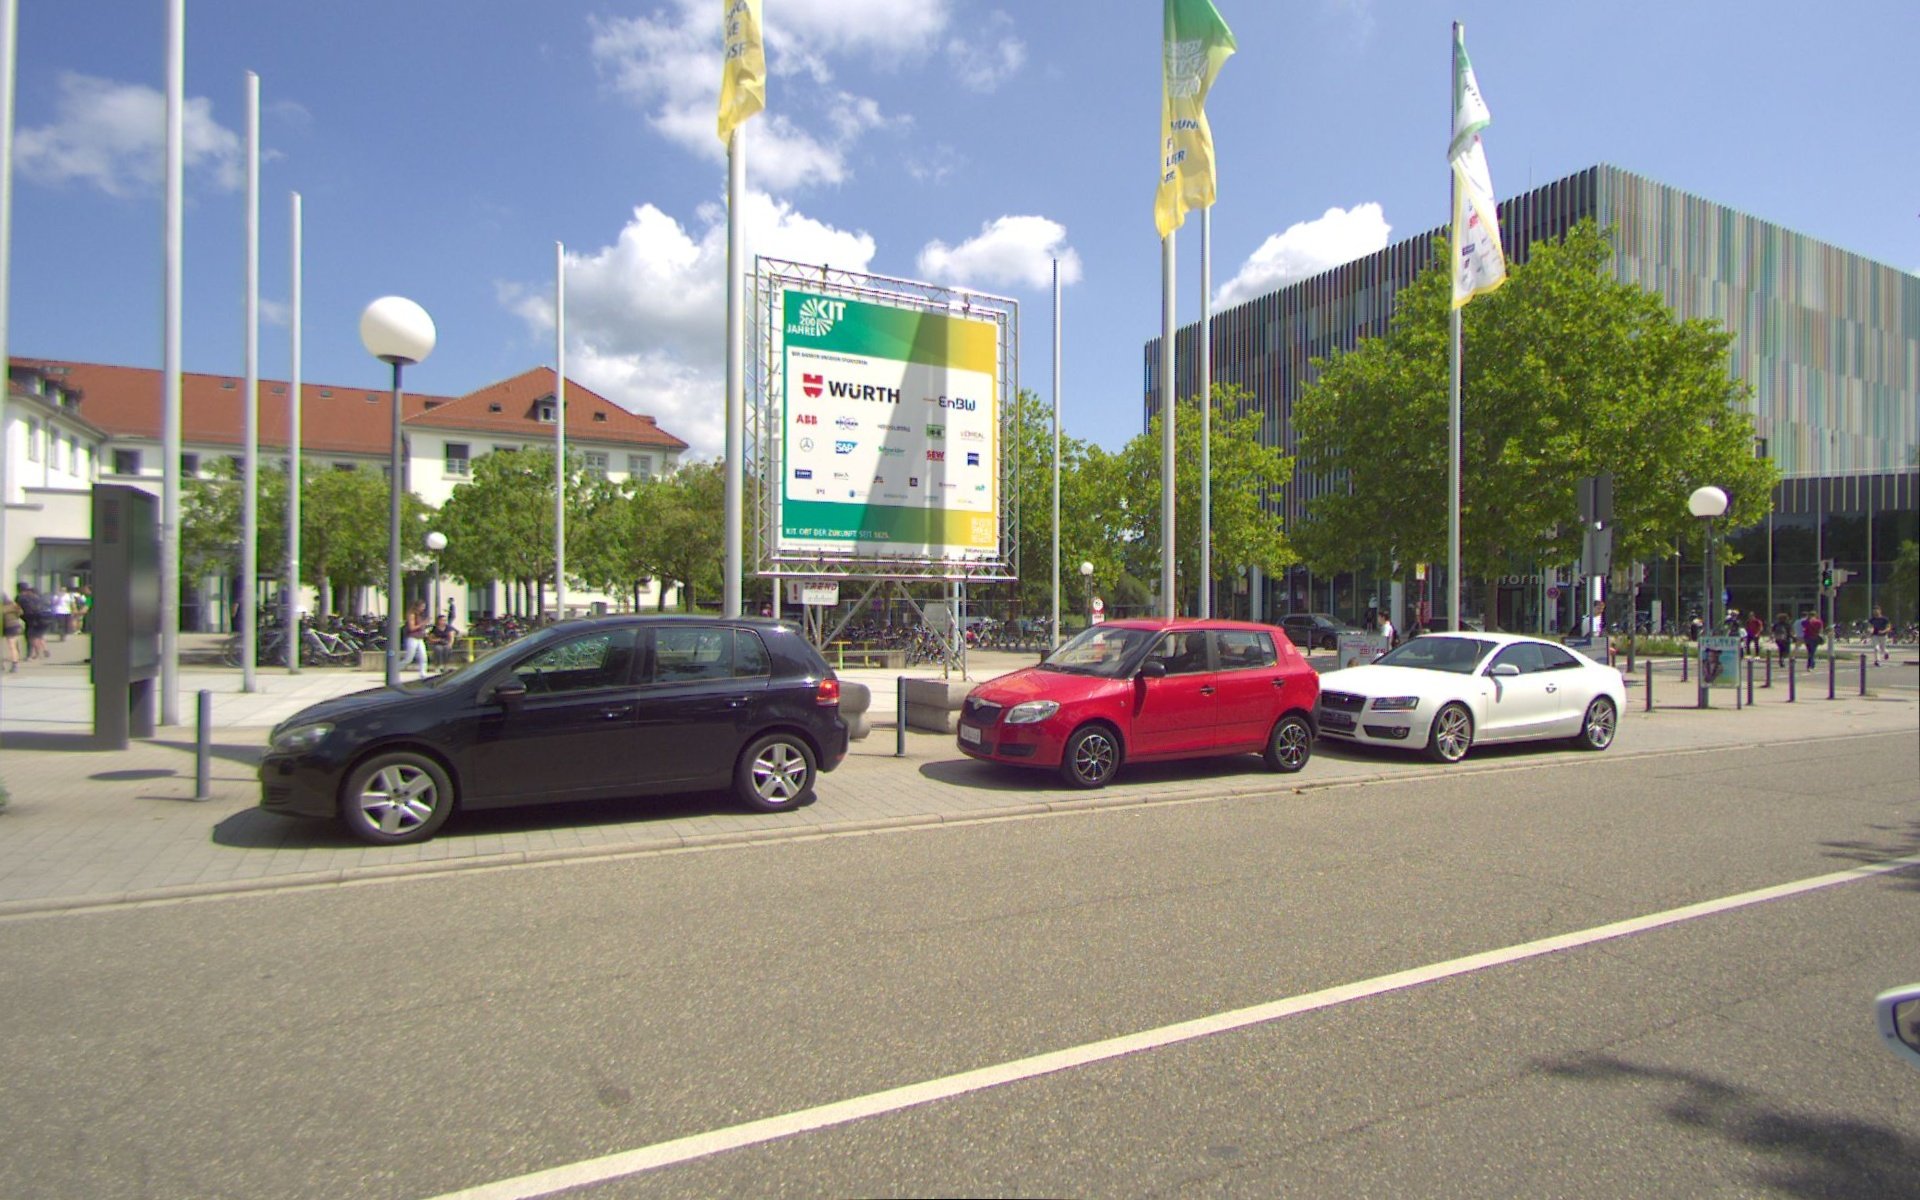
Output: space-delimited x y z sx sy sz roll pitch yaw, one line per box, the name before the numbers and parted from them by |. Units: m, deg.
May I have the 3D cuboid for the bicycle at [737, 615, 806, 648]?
bicycle | -8.520 1.430 45.382 2.909 1.430 1.060 1 0 -23

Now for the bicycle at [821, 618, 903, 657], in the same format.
bicycle | -3.703 1.405 37.938 2.909 1.430 1.060 1 0 -23

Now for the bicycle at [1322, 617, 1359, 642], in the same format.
bicycle | 29.452 2.278 77.729 2.911 1.863 0.956 1 0 -25

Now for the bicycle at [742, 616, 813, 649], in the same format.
bicycle | -8.048 1.429 44.284 2.909 1.430 1.060 1 0 -23

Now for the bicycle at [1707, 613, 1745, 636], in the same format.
bicycle | 43.803 1.380 57.483 1.179 1.254 2.947 1 0 27

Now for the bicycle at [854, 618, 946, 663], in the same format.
bicycle | -2.025 1.356 33.853 2.909 1.430 1.012 1 0 -23

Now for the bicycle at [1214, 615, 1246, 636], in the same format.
bicycle | 24.089 2.280 89.592 2.913 1.863 0.982 1 0 -27

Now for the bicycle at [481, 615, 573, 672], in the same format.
bicycle | -11.802 1.143 27.320 2.907 1.430 1.142 1 0 41

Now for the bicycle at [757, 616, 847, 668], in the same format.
bicycle | -4.803 1.238 30.340 2.907 1.430 1.060 1 0 41

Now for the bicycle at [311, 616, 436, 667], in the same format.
bicycle | -16.972 1.194 29.153 2.895 1.430 1.147 1 0 -6

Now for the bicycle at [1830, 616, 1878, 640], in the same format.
bicycle | 49.149 1.506 55.272 1.178 1.254 2.949 1 0 25

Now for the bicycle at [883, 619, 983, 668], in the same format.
bicycle | -0.837 1.320 30.876 2.909 1.438 1.012 1 0 -23

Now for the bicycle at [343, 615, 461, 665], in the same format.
bicycle | -16.895 1.204 30.476 2.895 1.430 1.147 1 0 -6

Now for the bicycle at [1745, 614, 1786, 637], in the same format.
bicycle | 45.744 1.431 57.101 1.178 1.254 2.948 1 0 26

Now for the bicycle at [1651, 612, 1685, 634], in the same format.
bicycle | 41.230 1.327 58.530 1.178 1.254 2.948 1 0 26

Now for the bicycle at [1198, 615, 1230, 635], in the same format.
bicycle | 23.127 2.280 91.544 2.913 1.863 0.956 1 0 -27

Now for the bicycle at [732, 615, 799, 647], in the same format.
bicycle | -9.025 1.431 46.668 2.909 1.430 1.060 1 0 -23

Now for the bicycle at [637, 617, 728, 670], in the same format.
bicycle | -8.133 1.239 29.350 2.907 1.430 1.142 1 0 41

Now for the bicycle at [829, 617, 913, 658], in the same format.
bicycle | -3.273 1.374 36.889 2.909 1.430 1.060 1 0 -23

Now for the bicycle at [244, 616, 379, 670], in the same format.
bicycle | -17.811 1.171 27.673 2.895 1.430 1.147 1 0 -6

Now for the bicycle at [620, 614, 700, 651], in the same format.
bicycle | -11.899 1.287 39.962 2.897 1.430 1.064 1 0 -9

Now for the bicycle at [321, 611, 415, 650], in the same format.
bicycle | -22.625 1.175 38.481 2.906 1.430 1.143 1 0 -20

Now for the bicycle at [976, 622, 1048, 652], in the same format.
bicycle | 2.118 1.472 40.446 2.922 1.163 0.991 1 0 -35

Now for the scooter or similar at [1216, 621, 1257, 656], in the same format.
scooter or similar | 9.963 1.377 36.254 0.486 1.212 1.726 0 -1 -21

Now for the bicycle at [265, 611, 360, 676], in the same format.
bicycle | -15.667 1.008 24.276 2.907 1.430 1.142 1 0 41

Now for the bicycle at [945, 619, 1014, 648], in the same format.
bicycle | 0.843 1.404 42.325 2.922 1.165 0.991 1 0 -36

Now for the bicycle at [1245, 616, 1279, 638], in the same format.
bicycle | 25.830 2.280 85.785 2.912 1.863 0.956 1 0 -26

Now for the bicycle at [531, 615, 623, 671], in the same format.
bicycle | -10.696 1.164 27.997 2.907 1.430 1.142 1 0 41

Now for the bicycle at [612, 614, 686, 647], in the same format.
bicycle | -13.784 1.338 44.540 2.915 1.430 1.205 1 0 -29

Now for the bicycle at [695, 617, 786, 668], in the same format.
bicycle | -6.616 1.238 30.109 2.907 1.430 1.142 1 0 41

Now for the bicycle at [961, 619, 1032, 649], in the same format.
bicycle | 1.518 1.391 41.336 2.922 1.152 0.991 1 0 -35

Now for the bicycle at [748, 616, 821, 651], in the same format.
bicycle | -7.552 1.429 43.216 2.909 1.430 1.060 1 0 -23

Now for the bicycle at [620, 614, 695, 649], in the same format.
bicycle | -13.003 1.348 43.175 2.915 1.430 1.057 1 0 -29

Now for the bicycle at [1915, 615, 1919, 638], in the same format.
bicycle | 52.511 1.439 53.497 1.177 1.254 2.952 1 0 17

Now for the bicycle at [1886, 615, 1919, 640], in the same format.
bicycle | 51.442 1.475 54.036 1.177 1.254 2.952 1 0 17

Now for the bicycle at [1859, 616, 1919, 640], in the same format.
bicycle | 50.257 1.500 54.384 1.177 1.254 2.952 1 0 17

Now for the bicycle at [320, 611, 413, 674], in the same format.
bicycle | -14.897 1.025 25.171 2.907 1.430 1.142 1 0 41

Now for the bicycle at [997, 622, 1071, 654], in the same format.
bicycle | 2.898 1.467 39.288 2.922 1.163 0.991 1 0 -35

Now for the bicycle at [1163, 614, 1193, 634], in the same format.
bicycle | 20.851 2.277 96.071 2.913 1.863 0.956 1 0 -27

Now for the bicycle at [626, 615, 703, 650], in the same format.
bicycle | -12.336 1.350 41.929 2.915 1.430 1.057 1 0 -29

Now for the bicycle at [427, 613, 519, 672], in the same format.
bicycle | -12.968 1.093 26.691 2.907 1.430 1.142 1 0 41

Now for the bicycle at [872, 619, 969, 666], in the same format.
bicycle | -1.241 1.340 31.864 2.909 1.435 1.012 1 0 -23

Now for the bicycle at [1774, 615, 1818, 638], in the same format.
bicycle | 46.945 1.482 56.436 1.178 1.254 2.948 1 0 26

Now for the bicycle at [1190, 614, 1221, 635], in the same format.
bicycle | 22.629 2.280 92.596 2.913 1.863 0.956 1 0 -27

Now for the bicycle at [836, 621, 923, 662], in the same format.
bicycle | -2.858 1.472 35.860 2.909 1.430 1.060 1 0 -23

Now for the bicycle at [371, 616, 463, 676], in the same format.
bicycle | -14.141 1.157 26.101 2.907 1.430 1.142 1 0 41

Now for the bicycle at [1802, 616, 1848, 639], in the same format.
bicycle | 48.080 1.518 55.883 1.178 1.254 2.948 1 0 26

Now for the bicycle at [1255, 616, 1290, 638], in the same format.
bicycle | 26.373 2.280 84.665 2.911 1.863 0.956 1 0 -26

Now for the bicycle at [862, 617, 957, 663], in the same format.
bicycle | -1.649 1.295 32.841 2.909 1.430 1.012 1 0 -23

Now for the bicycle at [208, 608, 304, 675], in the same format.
bicycle | -16.418 0.934 23.375 2.907 1.430 1.142 1 0 41

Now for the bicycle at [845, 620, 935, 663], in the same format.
bicycle | -2.421 1.417 34.839 2.909 1.430 1.060 1 0 -23

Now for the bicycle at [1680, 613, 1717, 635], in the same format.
bicycle | 42.649 1.380 58.035 1.178 1.254 2.948 1 0 26

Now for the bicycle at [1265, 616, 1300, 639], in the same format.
bicycle | 26.848 2.280 83.652 2.911 1.863 0.956 1 0 -25
